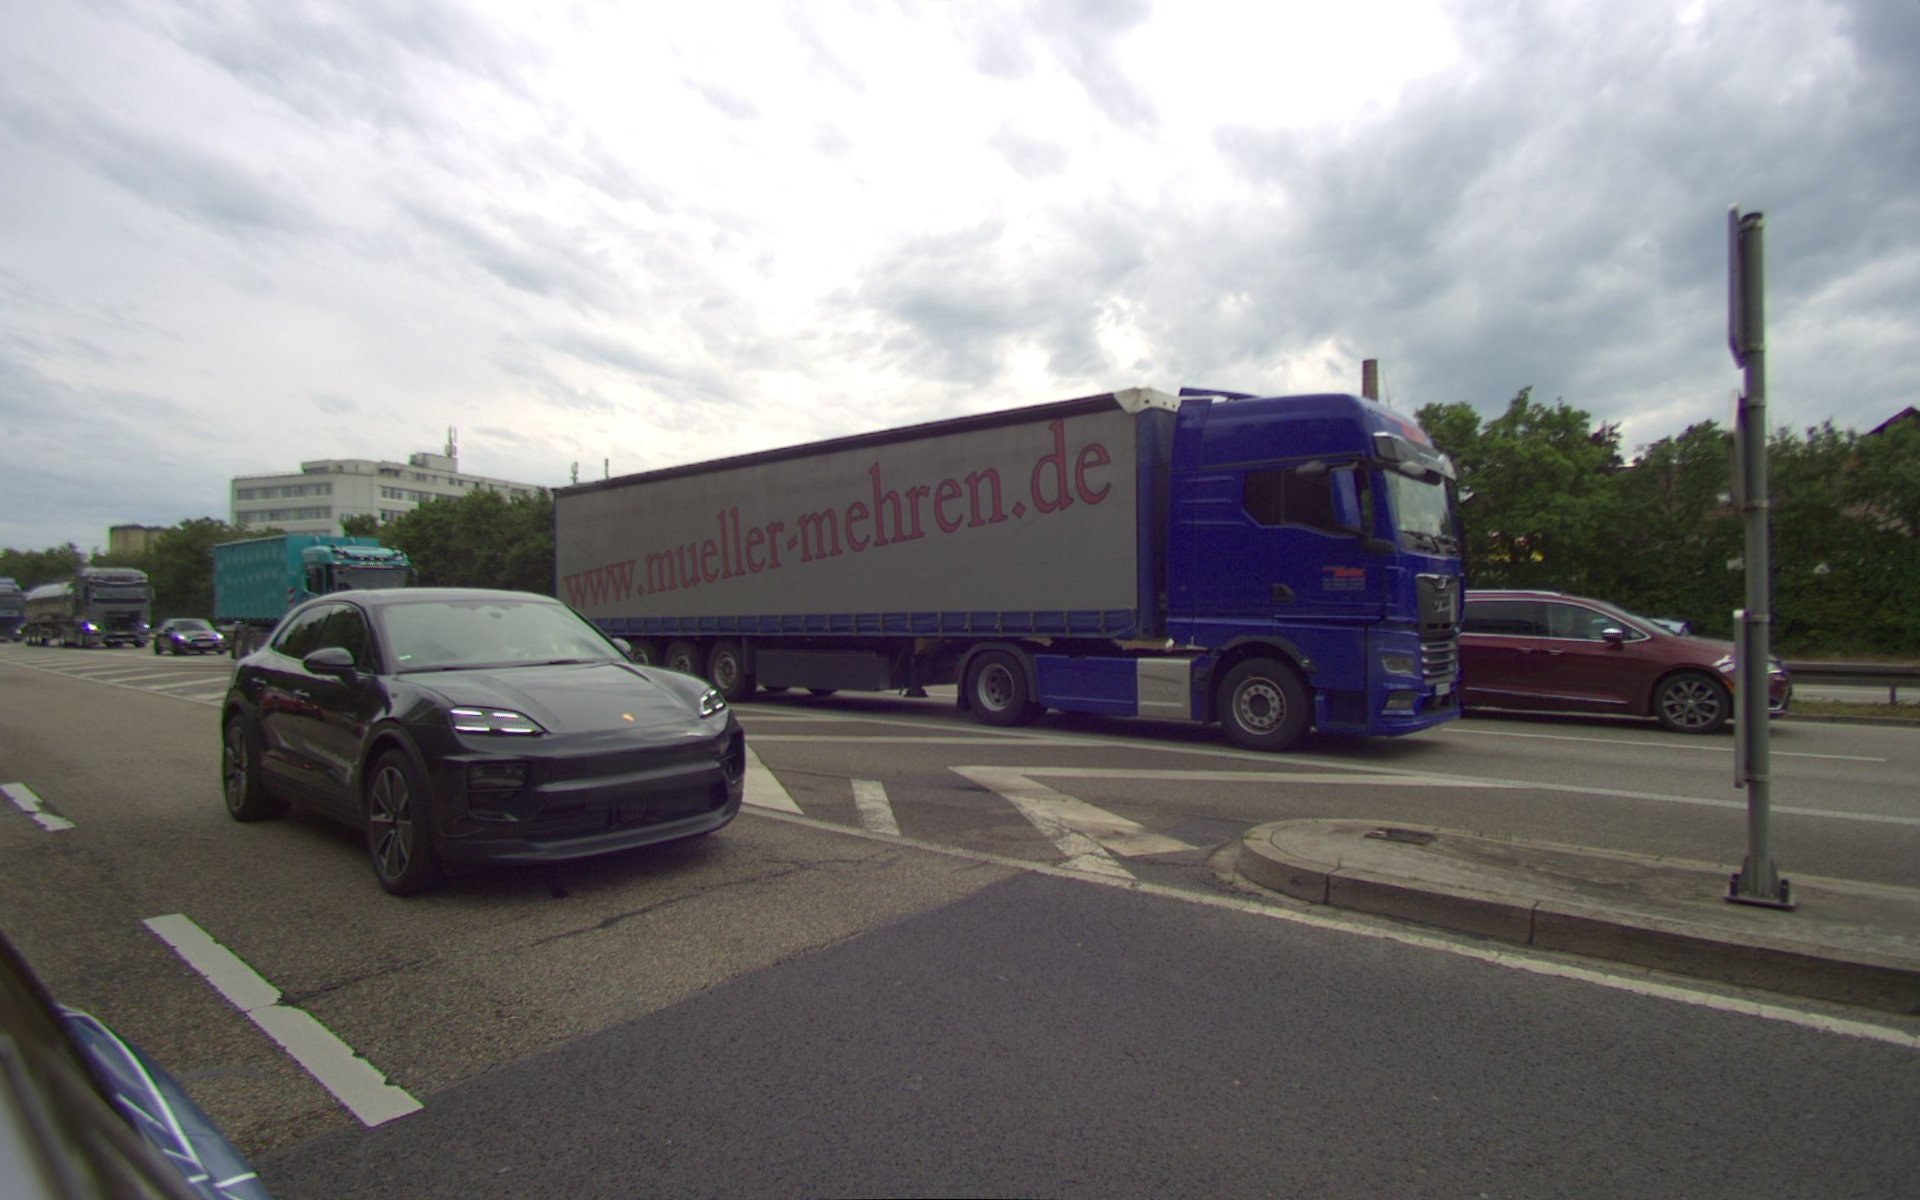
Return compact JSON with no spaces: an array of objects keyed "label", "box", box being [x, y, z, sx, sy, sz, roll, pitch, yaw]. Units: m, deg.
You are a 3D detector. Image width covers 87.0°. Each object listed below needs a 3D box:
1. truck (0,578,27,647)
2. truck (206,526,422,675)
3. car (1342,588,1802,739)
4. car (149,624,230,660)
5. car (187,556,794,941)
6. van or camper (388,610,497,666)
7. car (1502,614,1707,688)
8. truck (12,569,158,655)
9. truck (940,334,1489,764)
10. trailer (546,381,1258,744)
[{"label":"truck","box":[-64.431,0.872,65.927,13.979,4.263,2.781,-1,-1,36]},{"label":"truck","box":[-20.477,0.109,31.723,10.114,4.031,2.666,-1,-2,39]},{"label":"car","box":[8.040,0.759,13.677,5.082,1.691,1.766,-1,-2,41]},{"label":"car","box":[-30.710,1.648,40.303,3.996,1.332,1.735,-1,-1,40]},{"label":"car","box":[-3.356,0.689,6.698,4.750,1.676,1.881,-1,-2,41]},{"label":"van or camper","box":[-18.718,1.333,36.531,4.584,1.907,1.700,-1,-1,37]},{"label":"car","box":[14.164,1.074,22.329,3.623,1.501,1.580,-1,-2,40]},{"label":"truck","box":[-45.332,0.688,52.203,13.128,3.955,3.287,-1,-2,38]},{"label":"truck","box":[2.841,-0.416,12.325,5.924,3.991,2.641,-1,-2,41]},{"label":"trailer","box":[-2.233,-0.291,16.755,13.913,4.005,2.645,-1,-2,41]}]
